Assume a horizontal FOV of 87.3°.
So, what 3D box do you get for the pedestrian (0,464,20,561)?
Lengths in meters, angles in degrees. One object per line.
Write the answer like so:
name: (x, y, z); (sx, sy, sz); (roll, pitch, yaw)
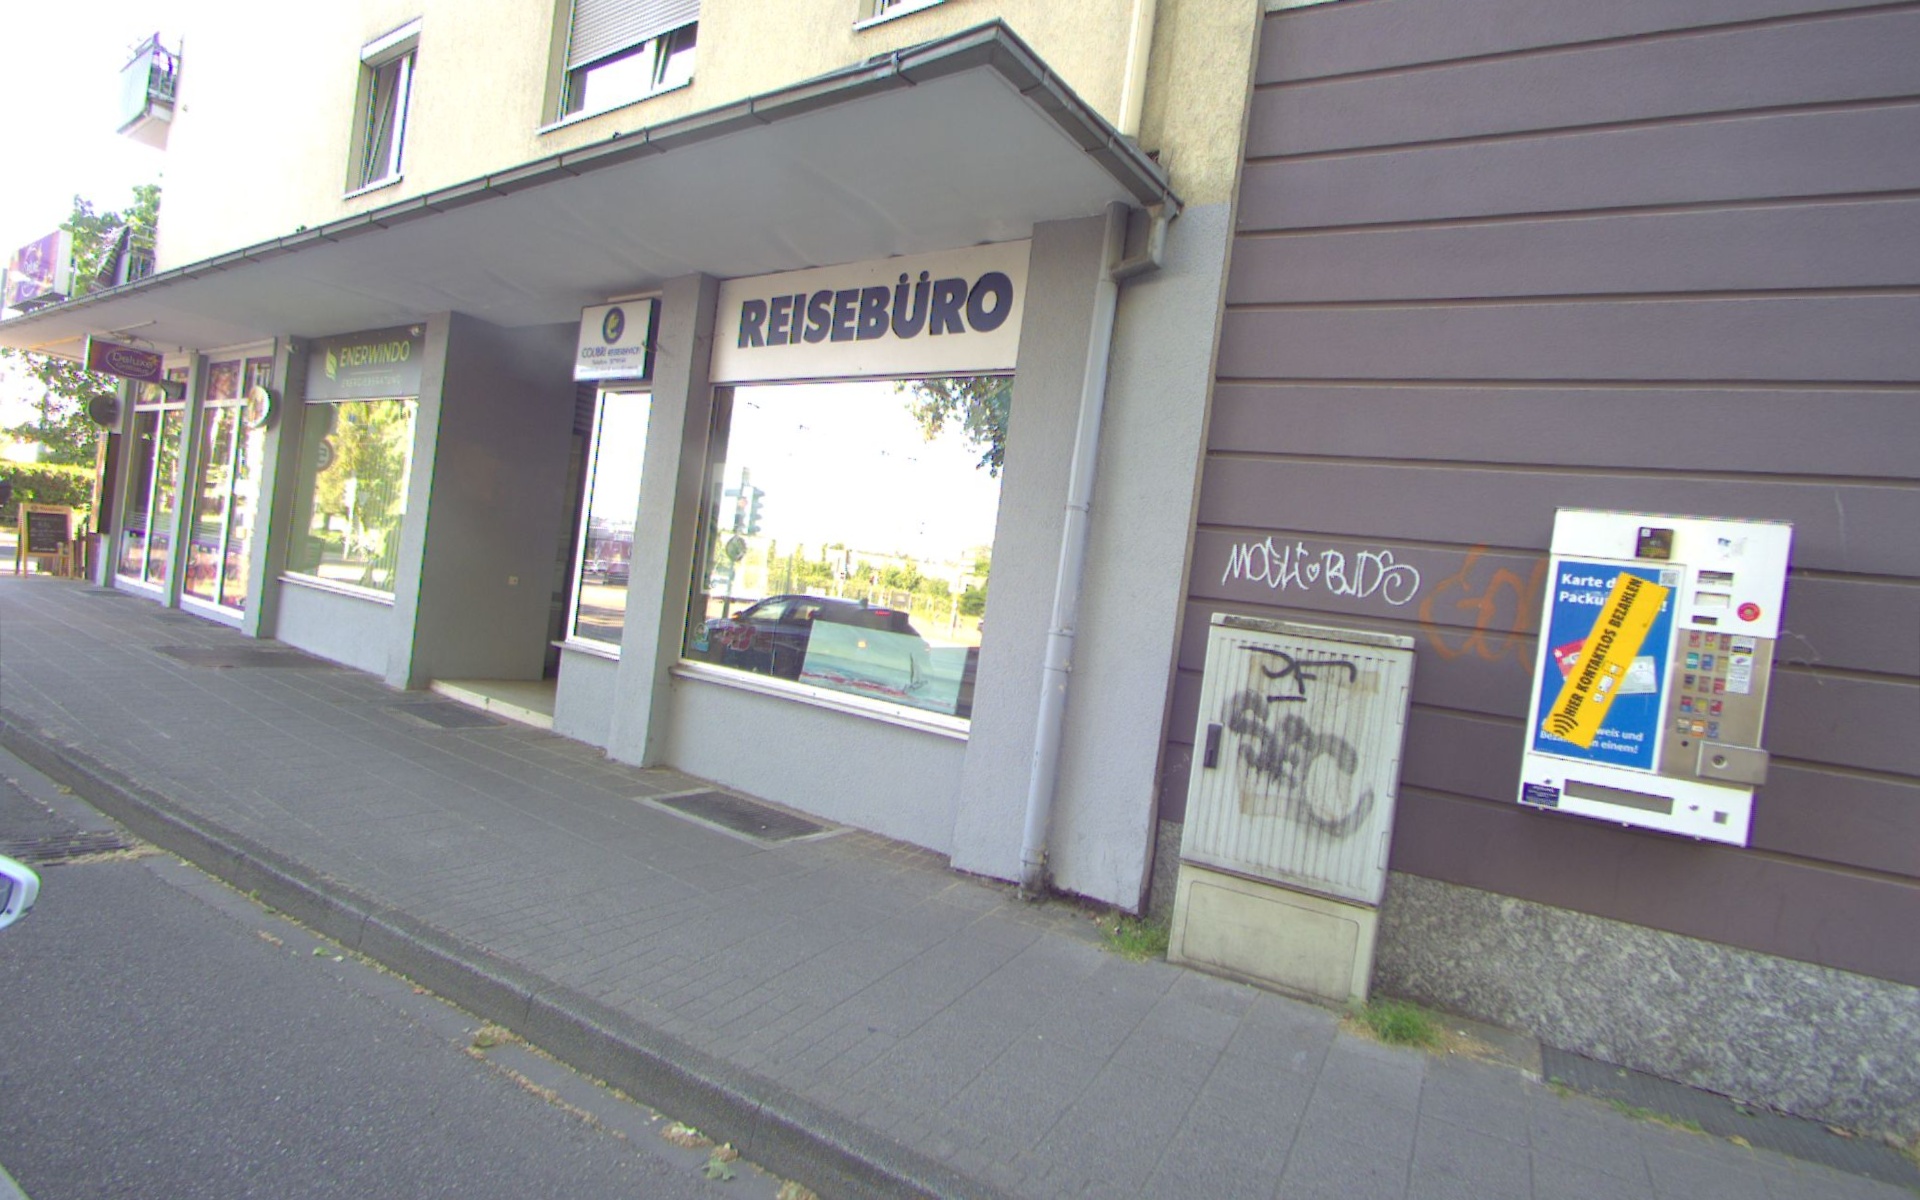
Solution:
pedestrian: (-18.870, -1.726, 19.558); (0.630, 1.841, 0.738); (8, -1, -38)
